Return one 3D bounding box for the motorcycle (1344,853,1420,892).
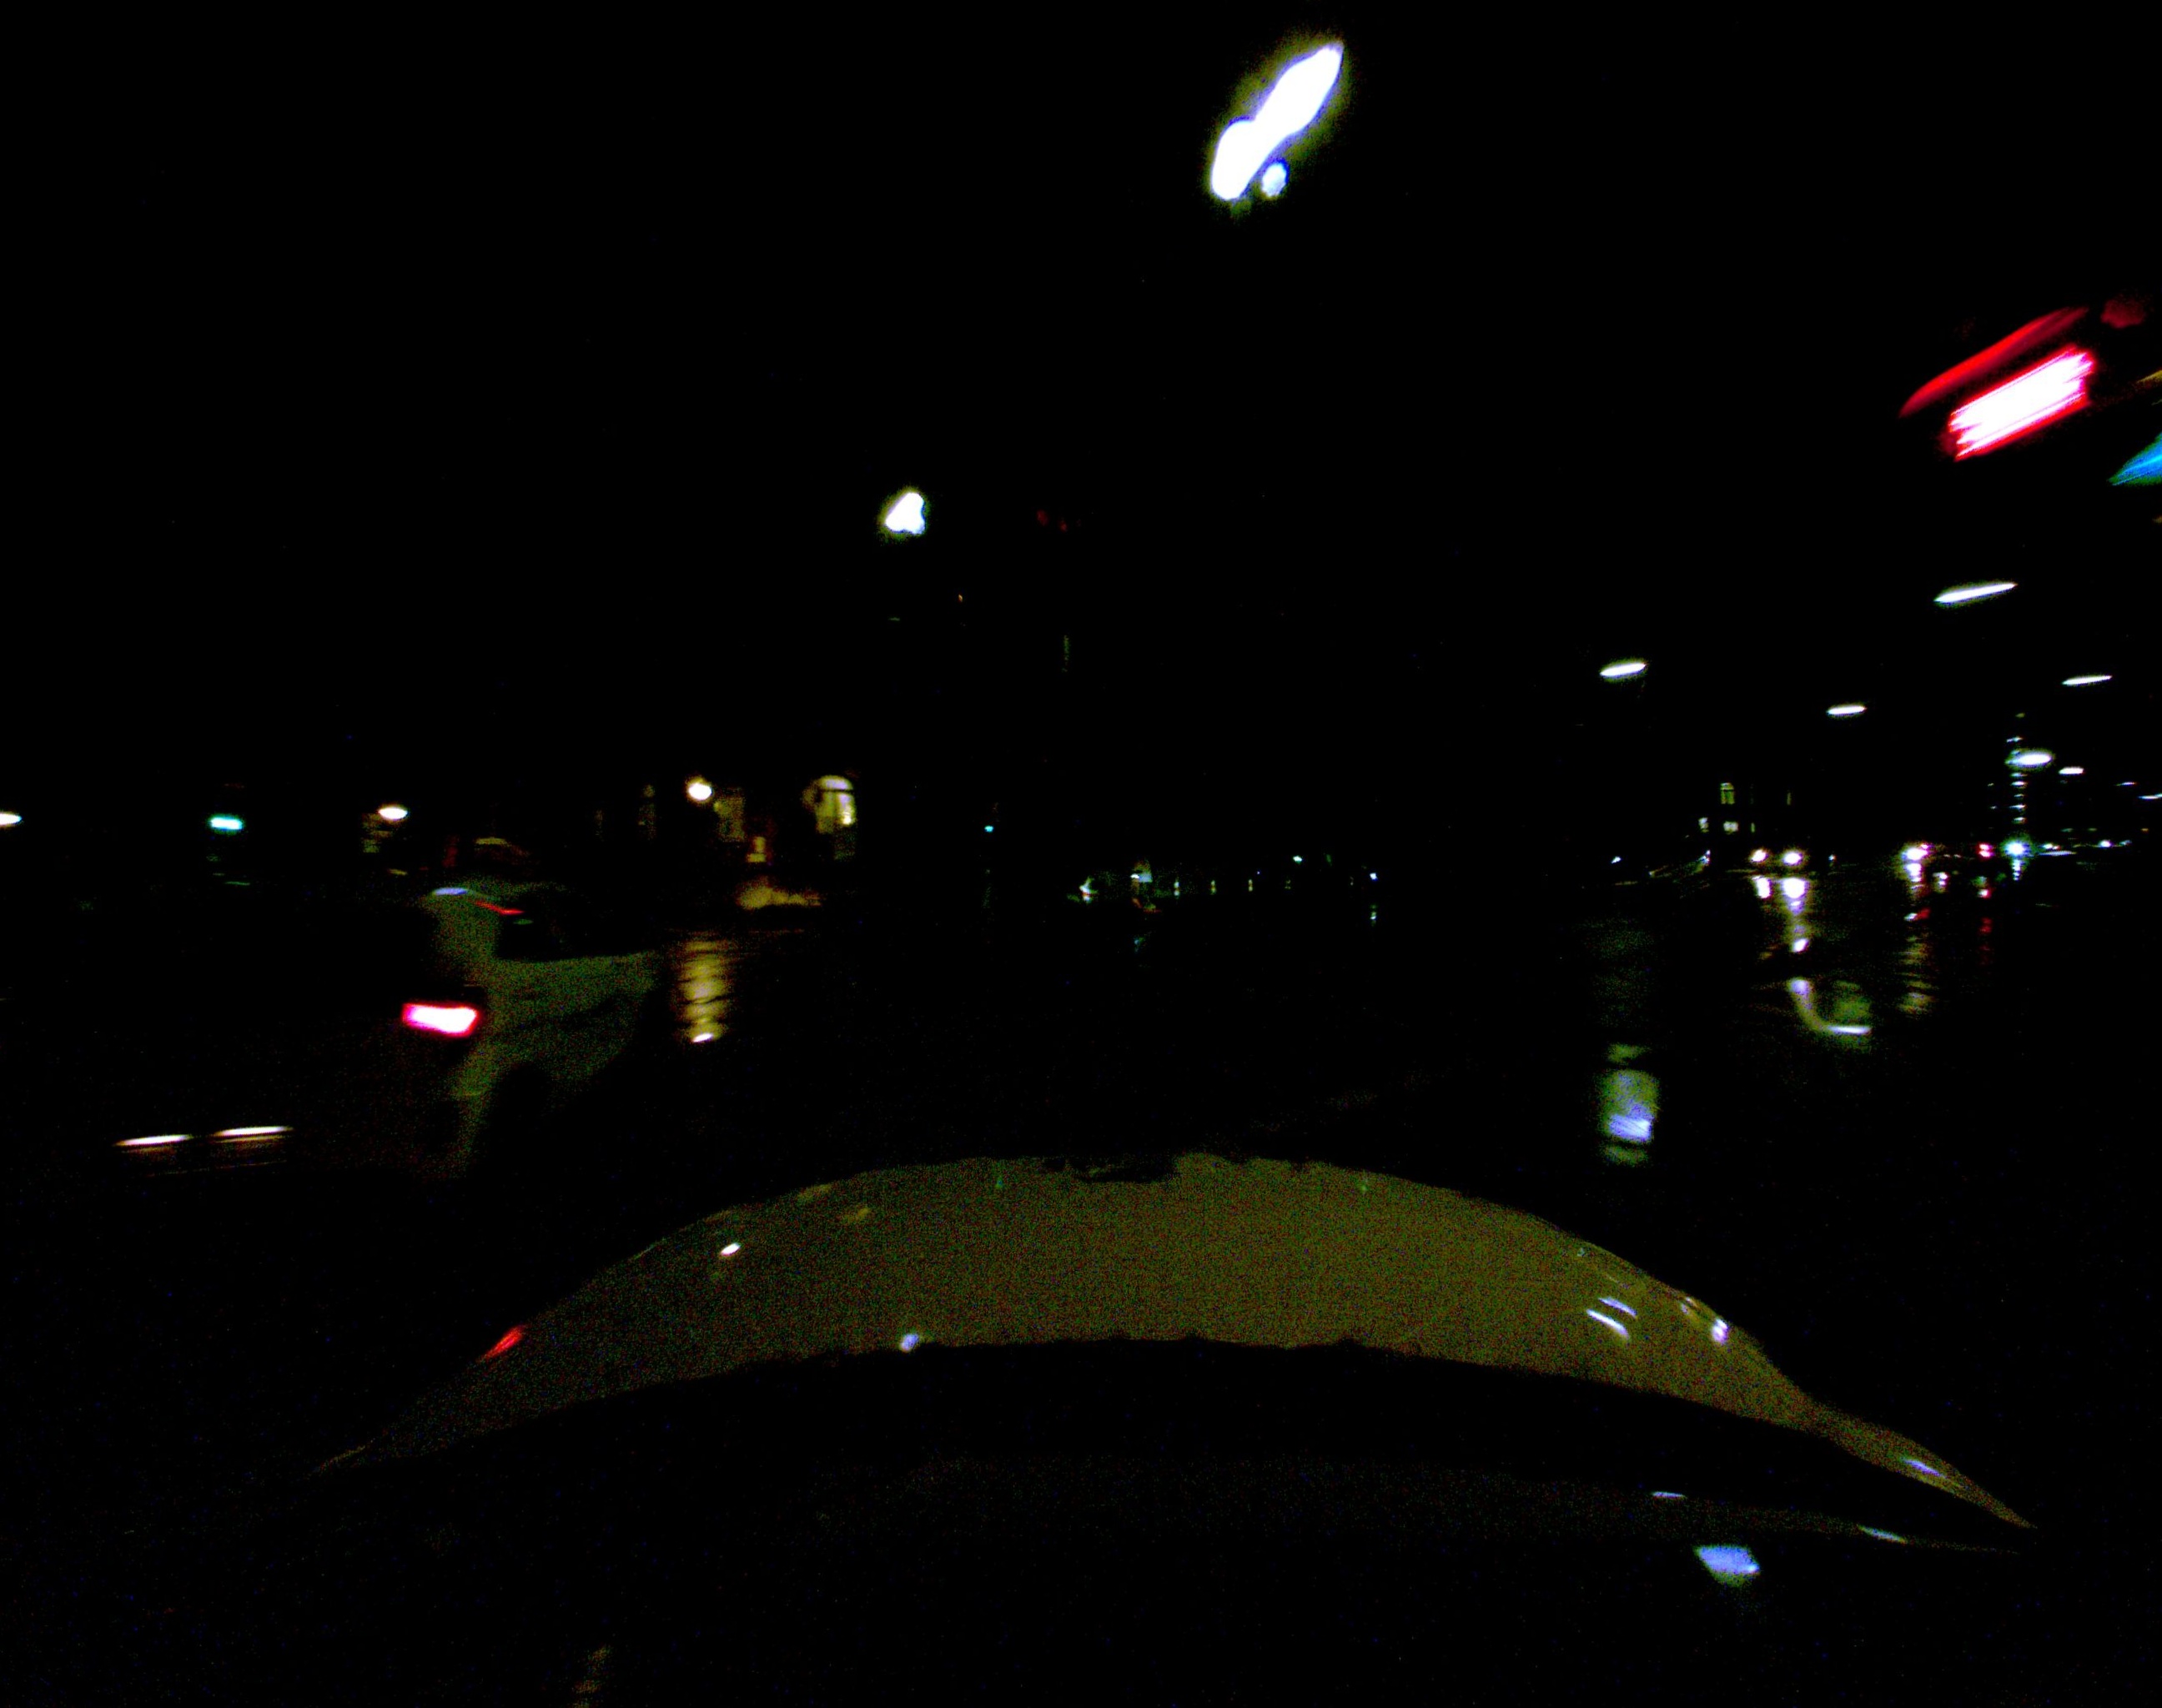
[{"bbox_3d":[10.086,0.627,27.343,2.318,1.230,0.707,-1,-2,-11],"label":"motorcycle"}]

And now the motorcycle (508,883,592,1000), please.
[{"bbox_3d":[-6.693,1.017,10.234,0.795,1.213,2.226,0,0,-35],"label":"motorcycle"}]

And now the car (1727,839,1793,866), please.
[{"bbox_3d":[38.006,-0.098,45.564,4.158,1.406,1.753,-1,2,-35],"label":"car"}]

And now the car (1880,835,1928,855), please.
[{"bbox_3d":[61.462,-0.677,60.787,4.015,1.386,1.657,0,1,-32],"label":"car"}]

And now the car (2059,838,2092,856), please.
[{"bbox_3d":[89.905,-0.637,73.596,4.225,1.479,1.638,-1,-2,-37],"label":"car"}]

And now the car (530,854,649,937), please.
[{"bbox_3d":[-11.302,0.863,18.984,1.755,1.739,3.772,0,0,-21],"label":"car"}]

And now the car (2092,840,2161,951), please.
[{"bbox_3d":[16.177,0.495,11.694,4.071,1.442,1.633,-1,-4,-34],"label":"car"}]

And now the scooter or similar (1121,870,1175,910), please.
[{"bbox_3d":[1.886,1.003,22.938,1.370,1.052,0.637,0,1,-22],"label":"scooter or similar"}]

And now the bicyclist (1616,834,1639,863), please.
[{"bbox_3d":[27.899,-0.291,41.552,0.870,1.465,0.650,0,1,-30],"label":"bicyclist"}]

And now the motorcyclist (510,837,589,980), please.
[{"bbox_3d":[-6.682,0.648,10.240,0.795,1.695,0.811,1,0,-35],"label":"motorcyclist"}]

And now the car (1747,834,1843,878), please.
[{"bbox_3d":[32.870,0.093,37.471,4.549,1.869,1.883,-1,-2,-30],"label":"car"}]

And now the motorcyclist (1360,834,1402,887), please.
[{"bbox_3d":[10.076,0.234,27.363,1.025,1.731,0.707,-1,-2,-10],"label":"motorcyclist"}]

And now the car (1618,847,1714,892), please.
[{"bbox_3d":[28.195,0.693,39.216,5.329,1.825,1.980,-2,3,-34],"label":"car"}]

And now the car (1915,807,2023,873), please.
[{"bbox_3d":[35.593,-0.559,32.595,5.406,2.441,2.200,-1,0,-35],"label":"car"}]

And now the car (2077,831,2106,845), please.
[{"bbox_3d":[132.368,-2.059,106.663,4.015,1.785,1.986,0,1,-33],"label":"car"}]

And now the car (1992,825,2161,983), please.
[{"bbox_3d":[11.835,0.468,9.086,3.594,1.525,1.635,-1,-4,-34],"label":"car"}]

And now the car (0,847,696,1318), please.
[{"bbox_3d":[-3.542,0.756,4.503,1.922,1.516,3.579,-1,0,-15],"label":"car"}]

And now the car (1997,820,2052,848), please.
[{"bbox_3d":[70.529,-1.489,60.849,4.654,1.880,1.912,-2,-2,-32],"label":"car"}]

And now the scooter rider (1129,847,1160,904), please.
[{"bbox_3d":[1.784,0.596,23.054,0.653,1.573,0.637,0,1,-22],"label":"scooter rider"}]

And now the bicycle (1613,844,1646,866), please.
[{"bbox_3d":[28.064,0.046,41.654,1.903,1.141,0.650,0,1,-30],"label":"bicycle"}]
